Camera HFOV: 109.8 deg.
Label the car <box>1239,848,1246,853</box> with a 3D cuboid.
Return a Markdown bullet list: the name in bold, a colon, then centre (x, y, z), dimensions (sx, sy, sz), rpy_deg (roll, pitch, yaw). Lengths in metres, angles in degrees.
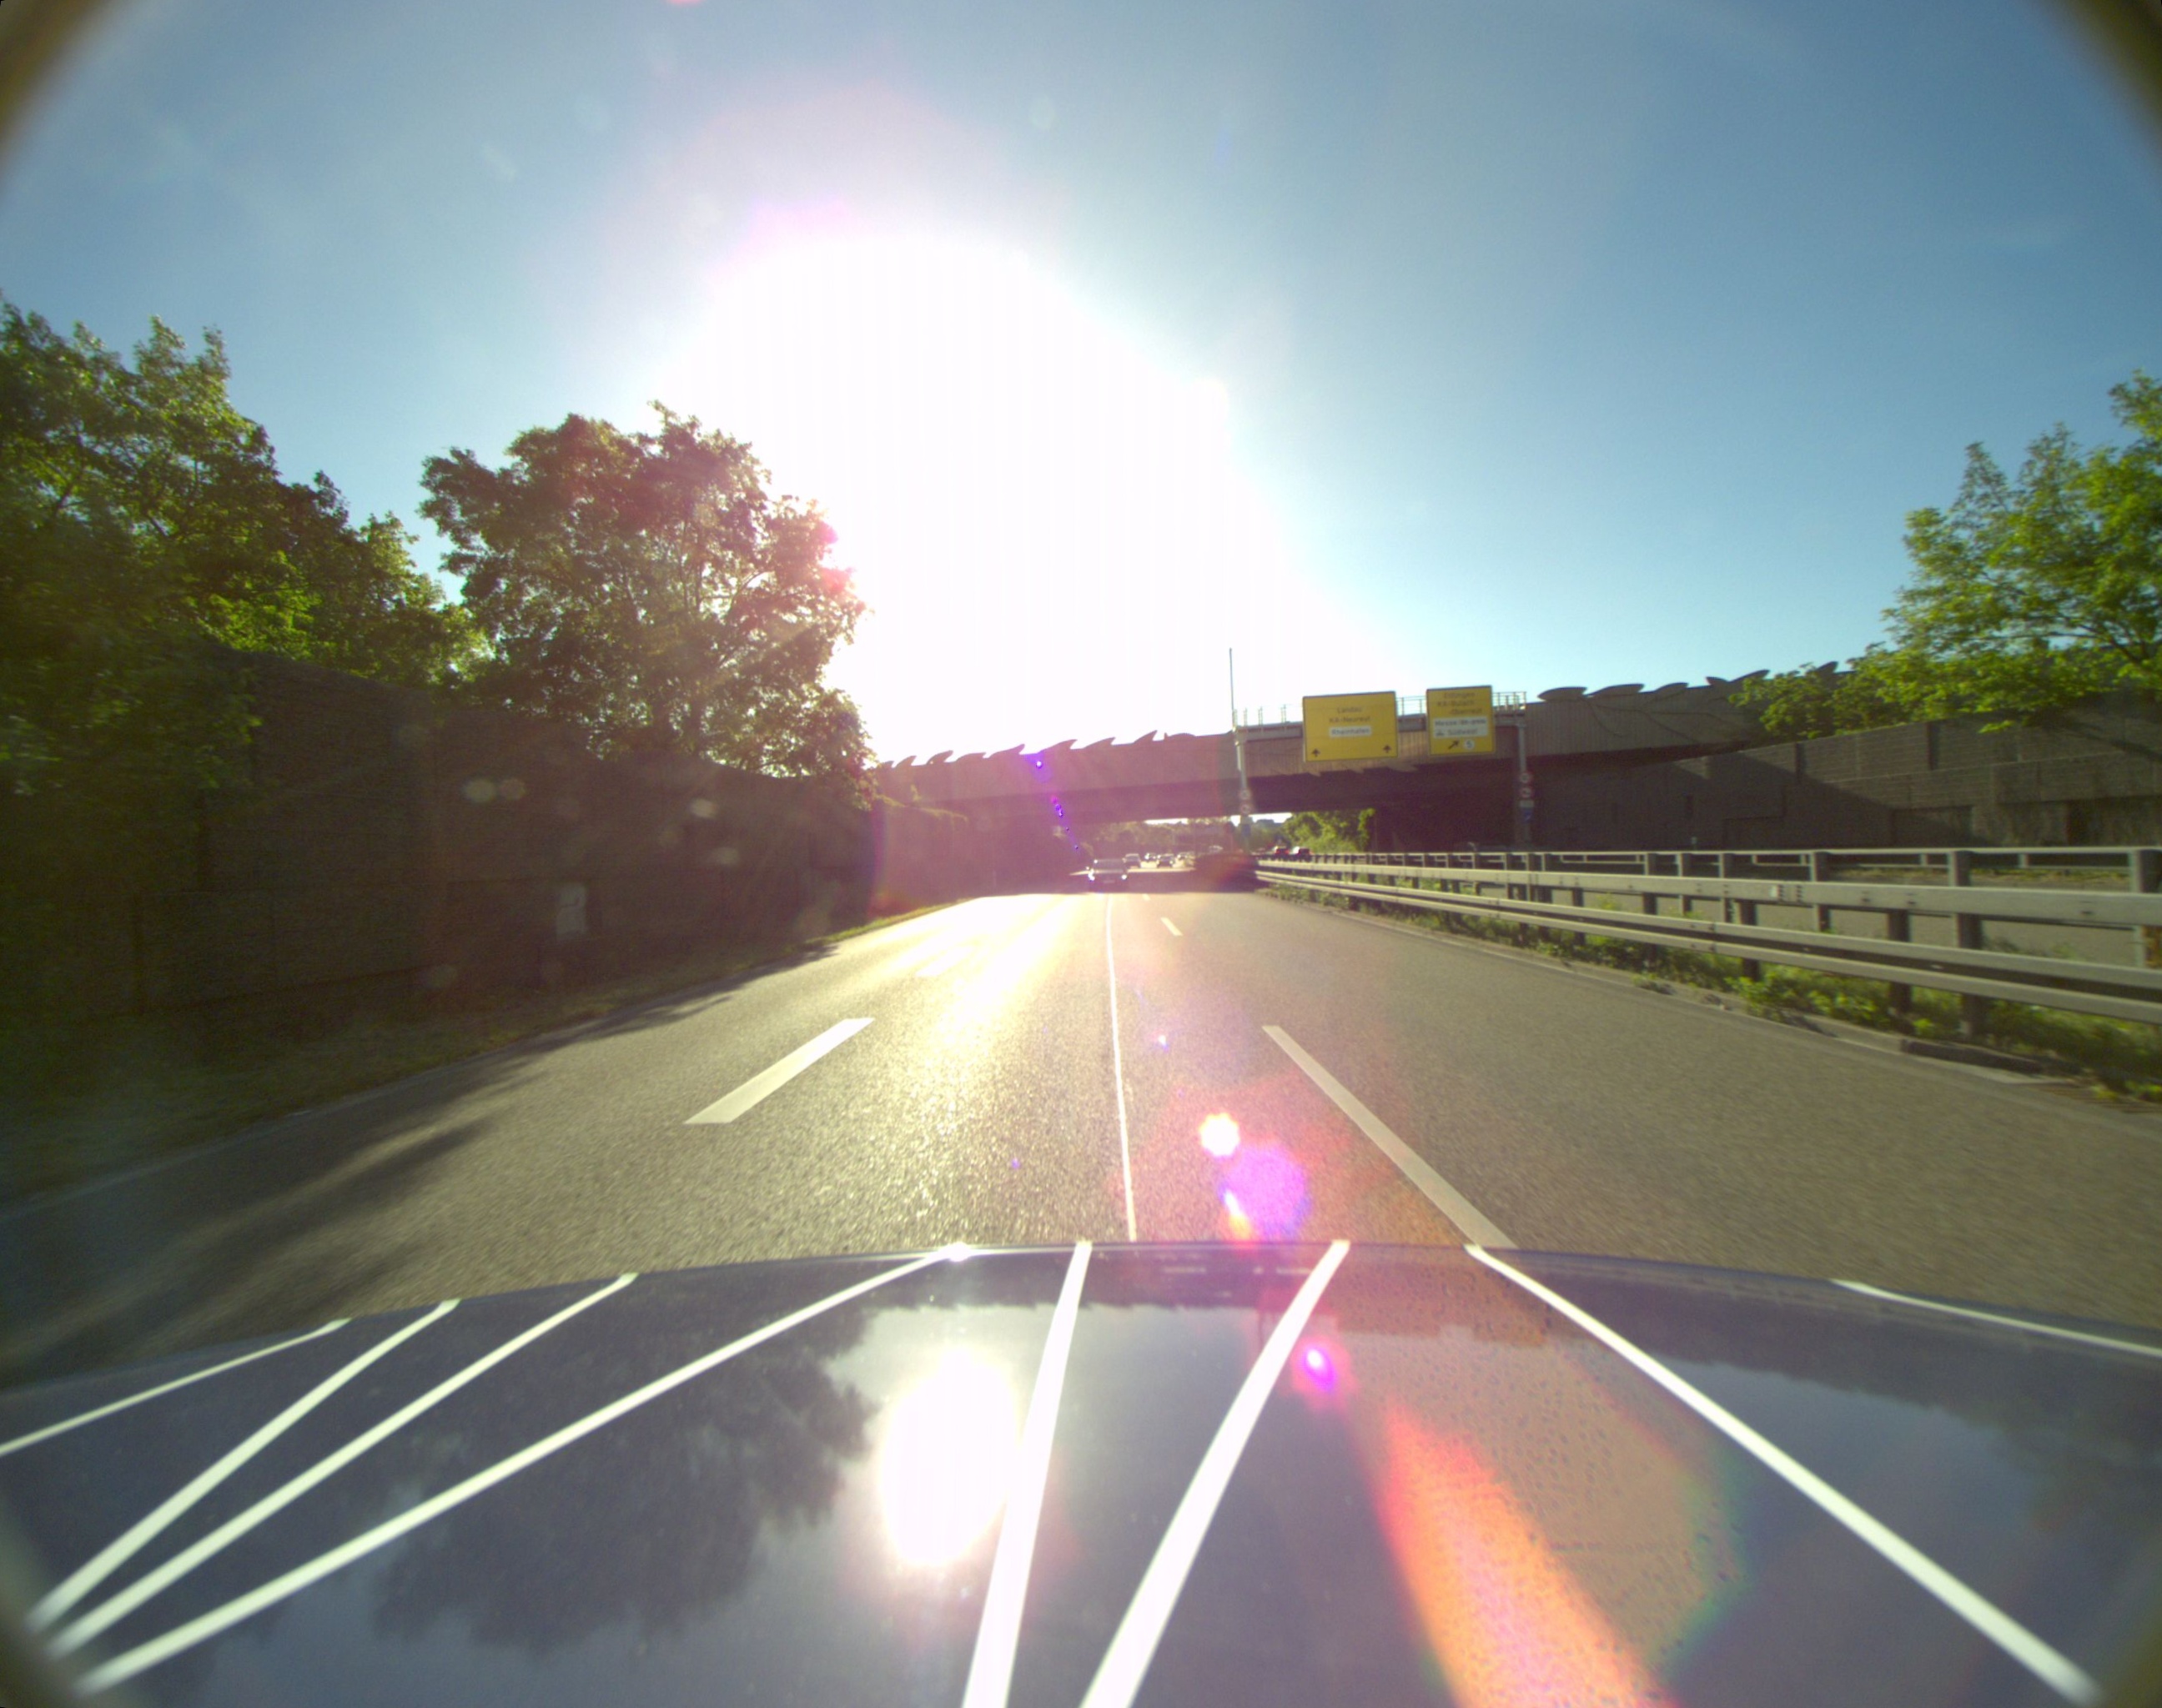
- **car**: centre (52.641, -1.088, 248.238), dimensions (1.997, 1.631, 4.724), rpy_deg (-3, 0, 11)

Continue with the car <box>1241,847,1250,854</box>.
- **car**: centre (42.467, -0.873, 196.267), dimensions (1.997, 1.631, 4.724), rpy_deg (-3, 0, 11)

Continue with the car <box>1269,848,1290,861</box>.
- **car**: centre (26.814, 0.093, 102.574), dimensions (1.998, 1.696, 4.563), rpy_deg (-2, 0, 5)

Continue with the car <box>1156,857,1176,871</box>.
- **car**: centre (9.674, 1.068, 85.800), dimensions (1.997, 1.406, 4.834), rpy_deg (-3, 0, 9)

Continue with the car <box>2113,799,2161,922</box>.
- **car**: centre (14.800, 0.007, 7.780), dimensions (1.902, 1.564, 4.808), rpy_deg (-5, 0, 1)

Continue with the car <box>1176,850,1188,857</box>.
- **car**: centre (20.242, -0.120, 152.090), dimensions (1.997, 1.406, 4.834), rpy_deg (-3, 0, 11)

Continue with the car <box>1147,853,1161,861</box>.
- **car**: centre (13.171, 0.542, 136.183), dimensions (1.997, 1.406, 4.834), rpy_deg (-3, 0, 11)

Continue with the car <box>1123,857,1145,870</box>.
- **car**: centre (6.399, 1.091, 91.286), dimensions (1.997, 1.406, 4.834), rpy_deg (-3, 0, 11)

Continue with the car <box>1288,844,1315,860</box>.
- **car**: centre (24.627, -0.217, 84.864), dimensions (1.998, 1.586, 4.429), rpy_deg (-3, 0, 5)

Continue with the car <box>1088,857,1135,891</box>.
- **car**: centre (1.432, 0.876, 35.866), dimensions (1.998, 1.406, 4.831), rpy_deg (-2, 0, 2)

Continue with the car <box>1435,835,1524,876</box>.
- **car**: centre (17.273, 0.061, 33.189), dimensions (1.549, 1.564, 4.396), rpy_deg (-5, 0, 1)
